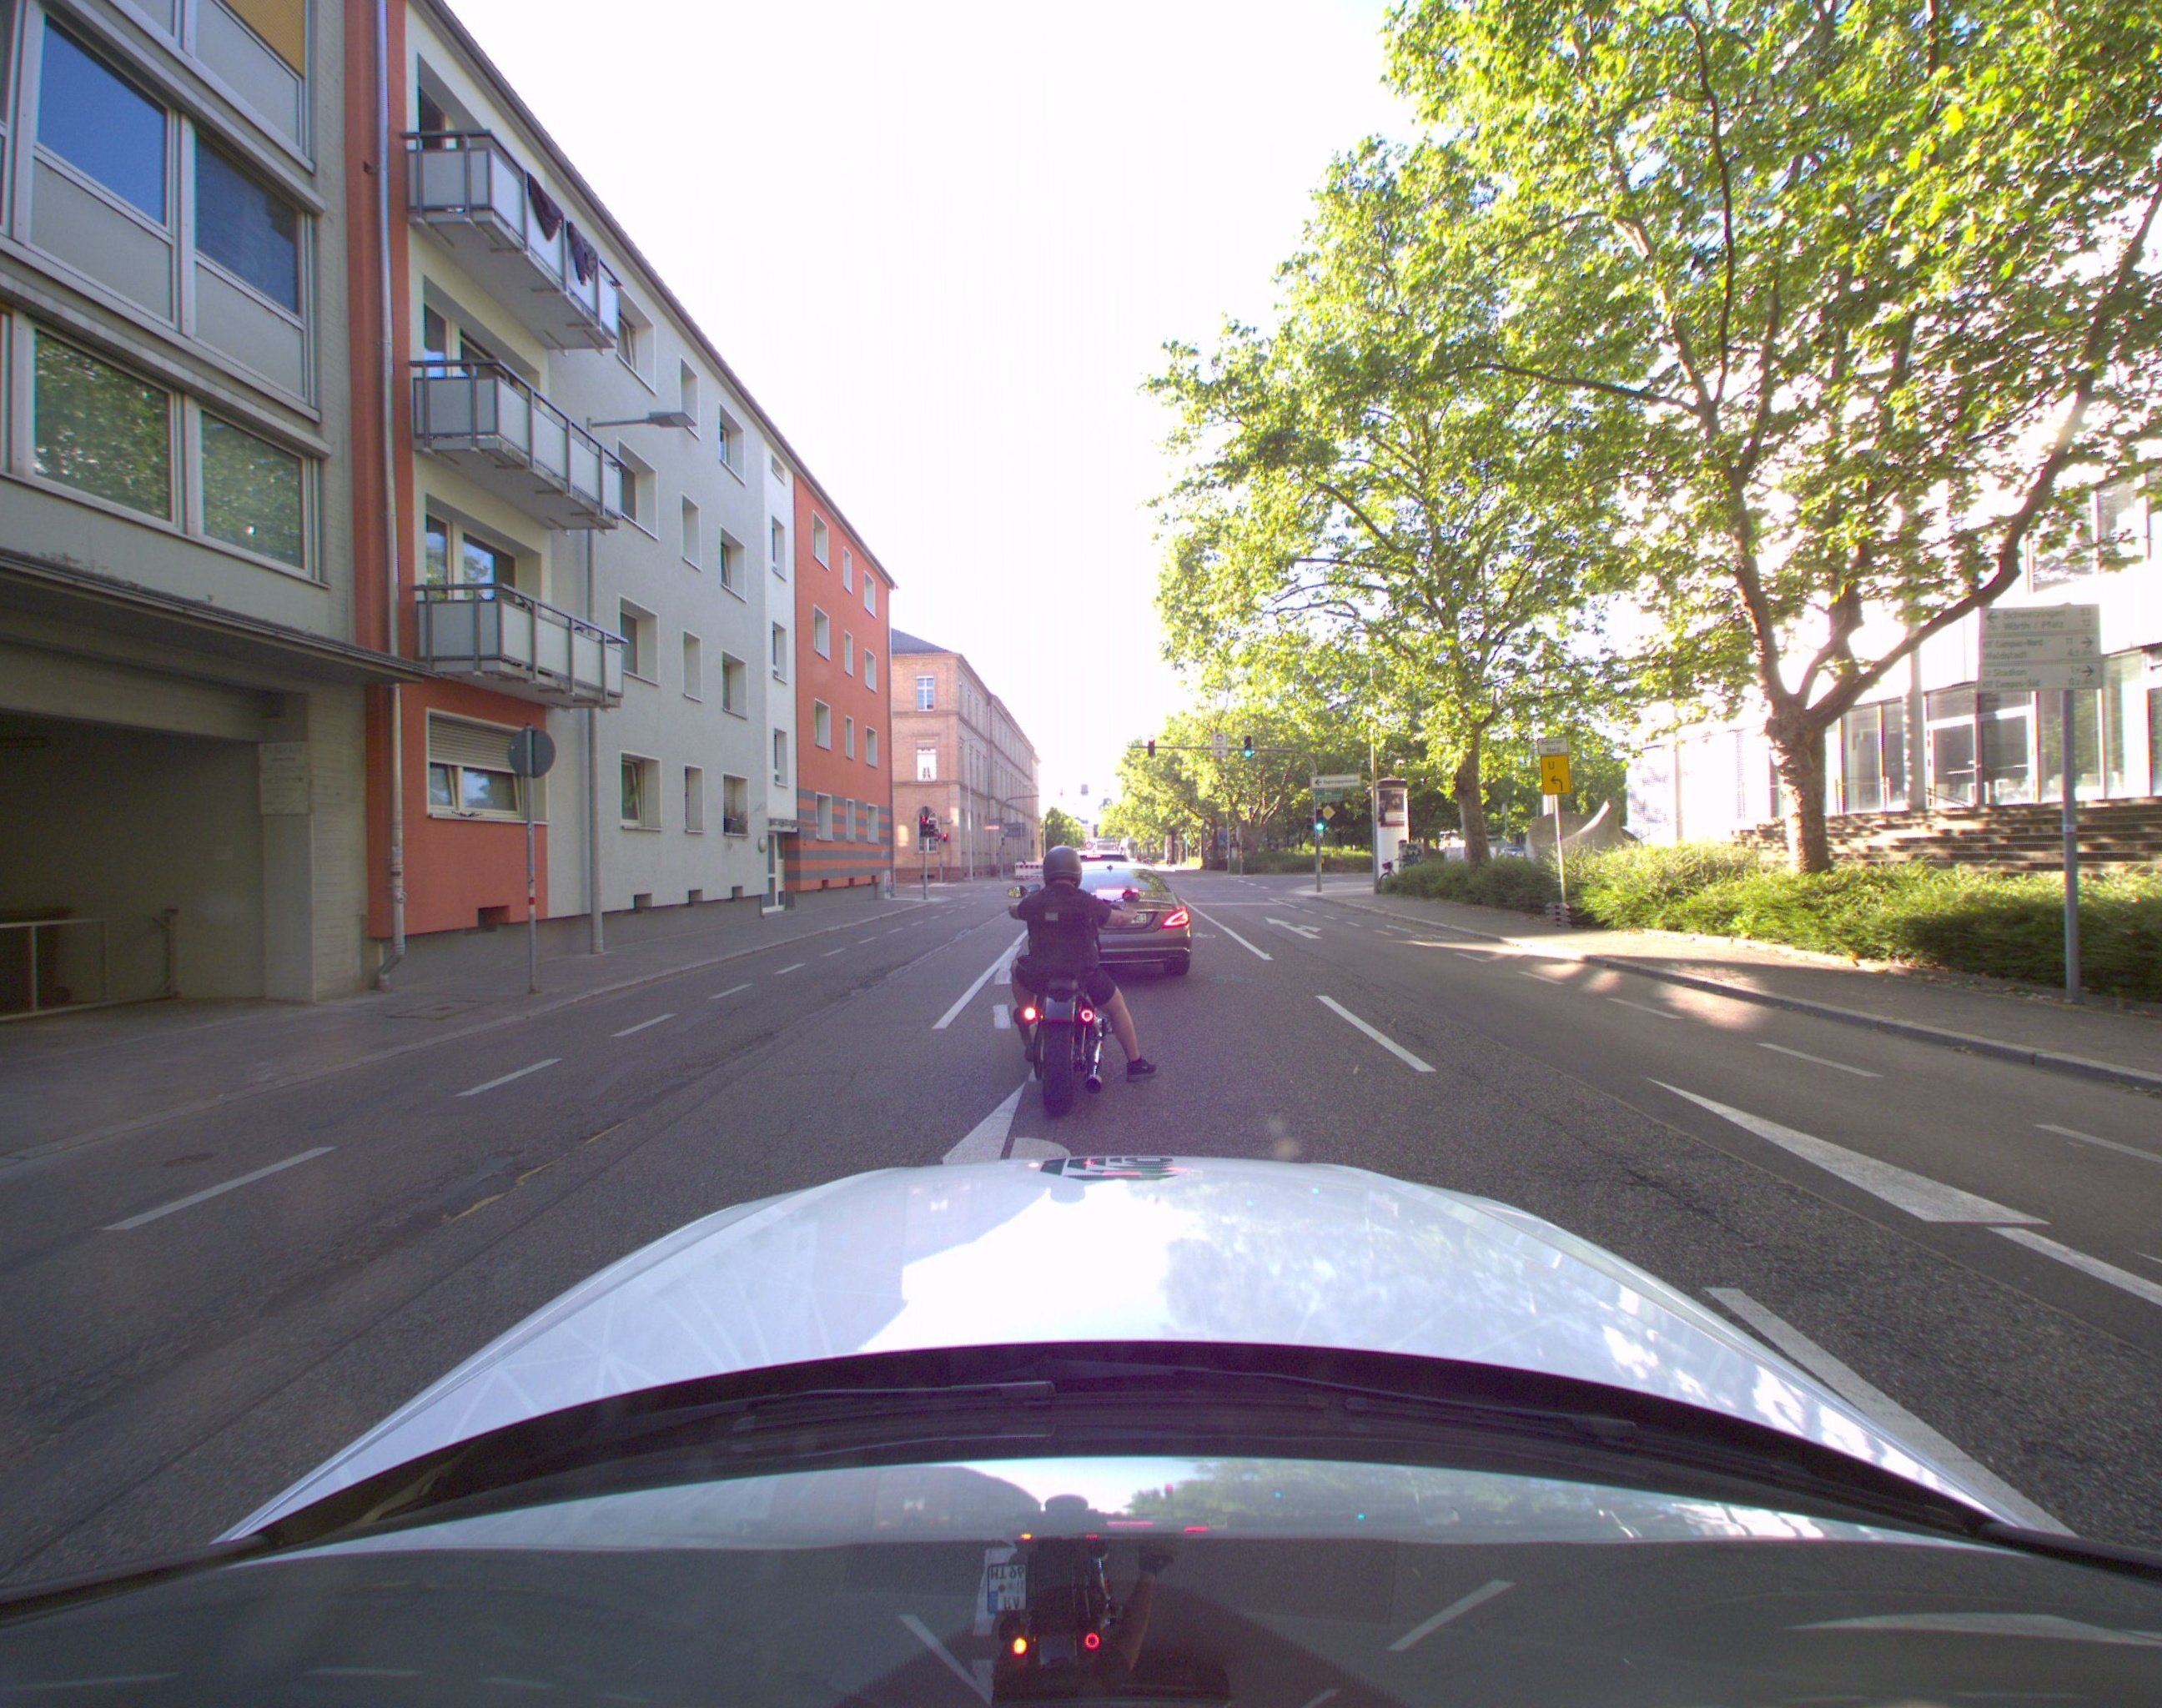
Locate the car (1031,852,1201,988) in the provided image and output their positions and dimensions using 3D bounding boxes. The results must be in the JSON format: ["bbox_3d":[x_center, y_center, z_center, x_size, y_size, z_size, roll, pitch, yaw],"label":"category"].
[{"bbox_3d":[0.263,0.748,11.254,1.821,1.486,4.325,0,-1,-5],"label":"car"}]

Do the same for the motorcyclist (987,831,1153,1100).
[{"bbox_3d":[-0.051,0.674,5.459,0.986,1.611,1.121,0,-1,1],"label":"motorcyclist"}]

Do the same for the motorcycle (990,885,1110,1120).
[{"bbox_3d":[-0.140,0.862,5.552,0.657,1.240,2.058,0,-1,2],"label":"motorcycle"}]

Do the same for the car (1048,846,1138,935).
[{"bbox_3d":[0.288,0.693,17.105,1.645,1.652,4.002,0,-1,2],"label":"car"}]

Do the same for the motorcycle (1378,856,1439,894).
[{"bbox_3d":[11.073,0.713,27.555,1.771,1.243,0.724,0,-1,7],"label":"motorcycle"}]

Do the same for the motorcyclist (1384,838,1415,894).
[{"bbox_3d":[10.769,0.394,27.579,0.818,1.863,0.673,-1,-1,7],"label":"motorcyclist"}]

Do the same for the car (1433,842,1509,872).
[{"bbox_3d":[24.631,0.203,51.534,3.974,1.772,1.738,-1,0,-1],"label":"car"}]
